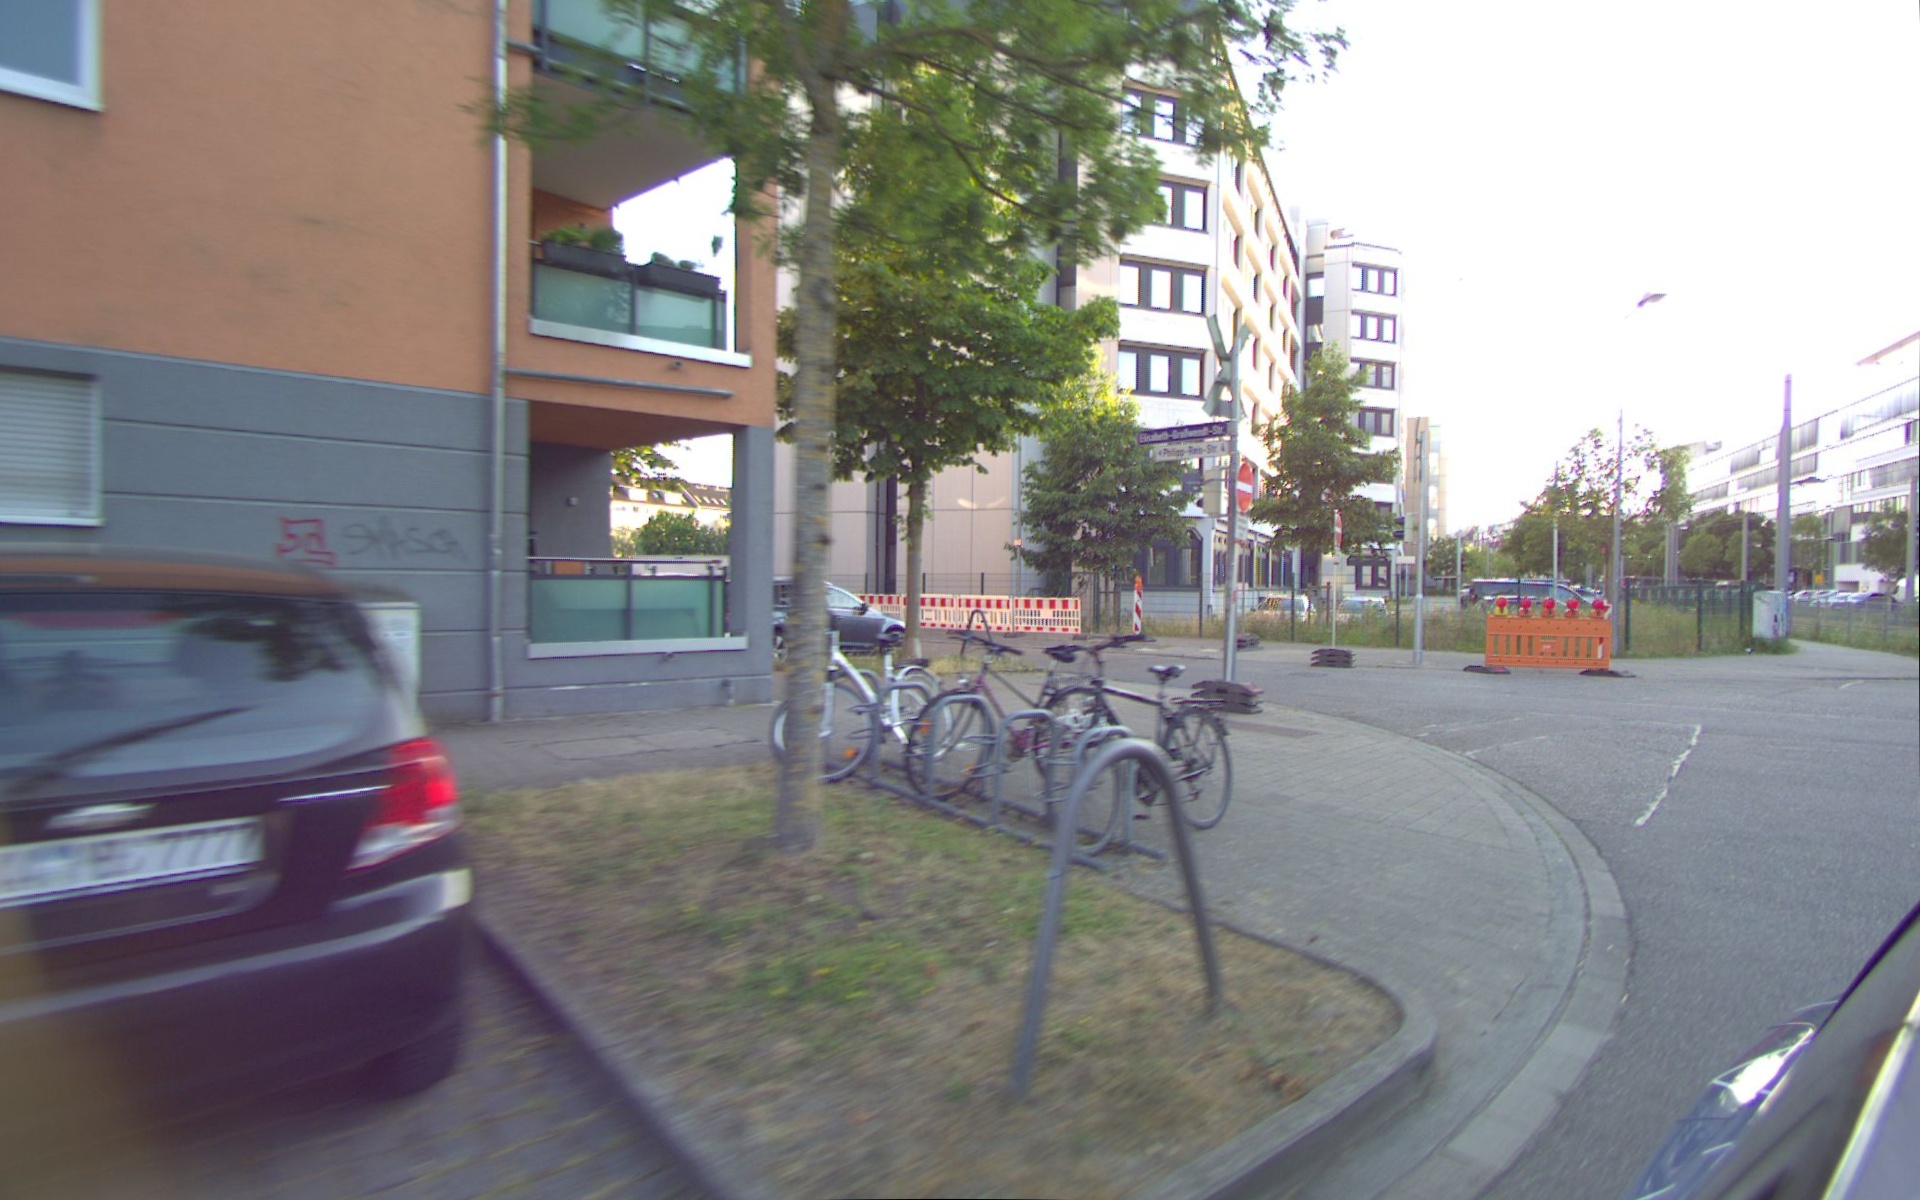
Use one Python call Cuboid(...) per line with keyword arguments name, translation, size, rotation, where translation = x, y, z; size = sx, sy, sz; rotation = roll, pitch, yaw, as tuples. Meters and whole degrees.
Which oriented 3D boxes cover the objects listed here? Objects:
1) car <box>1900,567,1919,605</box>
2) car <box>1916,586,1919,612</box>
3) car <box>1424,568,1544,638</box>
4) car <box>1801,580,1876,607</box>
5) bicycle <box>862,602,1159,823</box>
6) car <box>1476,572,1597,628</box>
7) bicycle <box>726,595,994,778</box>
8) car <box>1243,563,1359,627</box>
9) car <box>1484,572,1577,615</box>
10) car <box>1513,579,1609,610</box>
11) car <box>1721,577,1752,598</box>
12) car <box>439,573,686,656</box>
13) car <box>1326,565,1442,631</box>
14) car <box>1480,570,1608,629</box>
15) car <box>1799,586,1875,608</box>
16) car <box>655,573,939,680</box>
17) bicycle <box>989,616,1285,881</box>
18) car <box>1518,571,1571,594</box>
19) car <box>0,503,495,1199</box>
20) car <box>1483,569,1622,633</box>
Cuboid(name="car", translation=(74.228, -1.012, 77.073), size=(1.986, 2.911, 6.200), rotation=(2, 2, 26))
Cuboid(name="car", translation=(57.467, -0.039, 59.098), size=(1.619, 1.530, 3.380), rotation=(2, 1, 31))
Cuboid(name="car", translation=(16.409, 0.048, 31.614), size=(3.929, 2.039, 1.997), rotation=(0, 1, -40))
Cuboid(name="car", translation=(59.789, -0.442, 68.877), size=(3.917, 1.778, 1.721), rotation=(0, 1, -10))
Cuboid(name="bicycle", translation=(0.370, 0.636, 6.419), size=(1.894, 1.167, 0.680), rotation=(2, 2, -41))
Cuboid(name="car", translation=(22.251, -0.054, 39.194), size=(3.965, 2.039, 1.980), rotation=(1, 1, 29))
Cuboid(name="bicycle", translation=(-0.646, 0.560, 7.151), size=(1.928, 1.141, 0.530), rotation=(2, -2, -41))
Cuboid(name="car", translation=(11.651, -0.193, 34.506), size=(3.929, 2.039, 1.997), rotation=(0, 1, -40))
Cuboid(name="car", translation=(28.625, -0.364, 50.940), size=(3.961, 2.039, 1.982), rotation=(1, 1, 27))
Cuboid(name="car", translation=(32.784, -0.314, 55.319), size=(4.363, 1.613, 1.801), rotation=(1, 1, 27))
Cuboid(name="car", translation=(95.095, -1.539, 124.016), size=(1.978, 2.617, 3.969), rotation=(1, 1, 23))
Cuboid(name="car", translation=(-8.717, 0.249, 22.524), size=(1.992, 1.614, 4.743), rotation=(2, 2, 42))
Cuboid(name="car", translation=(14.123, -0.089, 33.637), size=(3.929, 2.039, 1.997), rotation=(0, 1, -40))
Cuboid(name="car", translation=(21.352, -0.058, 37.189), size=(3.965, 2.039, 1.980), rotation=(1, 1, 29))
Cuboid(name="car", translation=(57.558, -0.200, 66.449), size=(3.916, 1.393, 1.721), rotation=(0, 1, -12))
Cuboid(name="car", translation=(-2.692, 0.366, 17.657), size=(1.992, 1.614, 4.743), rotation=(1, 1, 42))
Cuboid(name="bicycle", translation=(1.045, 0.701, 5.579), size=(0.716, 1.167, 1.870), rotation=(4, 1, 40))
Cuboid(name="car", translation=(53.666, -1.627, 92.983), size=(3.956, 2.039, 1.984), rotation=(1, 1, 24))
Cuboid(name="car", translation=(-2.984, 0.528, 3.276), size=(1.586, 1.492, 3.753), rotation=(0, 1, -43))
Cuboid(name="car", translation=(20.114, -0.013, 34.539), size=(3.965, 2.039, 1.980), rotation=(1, 1, 29))
